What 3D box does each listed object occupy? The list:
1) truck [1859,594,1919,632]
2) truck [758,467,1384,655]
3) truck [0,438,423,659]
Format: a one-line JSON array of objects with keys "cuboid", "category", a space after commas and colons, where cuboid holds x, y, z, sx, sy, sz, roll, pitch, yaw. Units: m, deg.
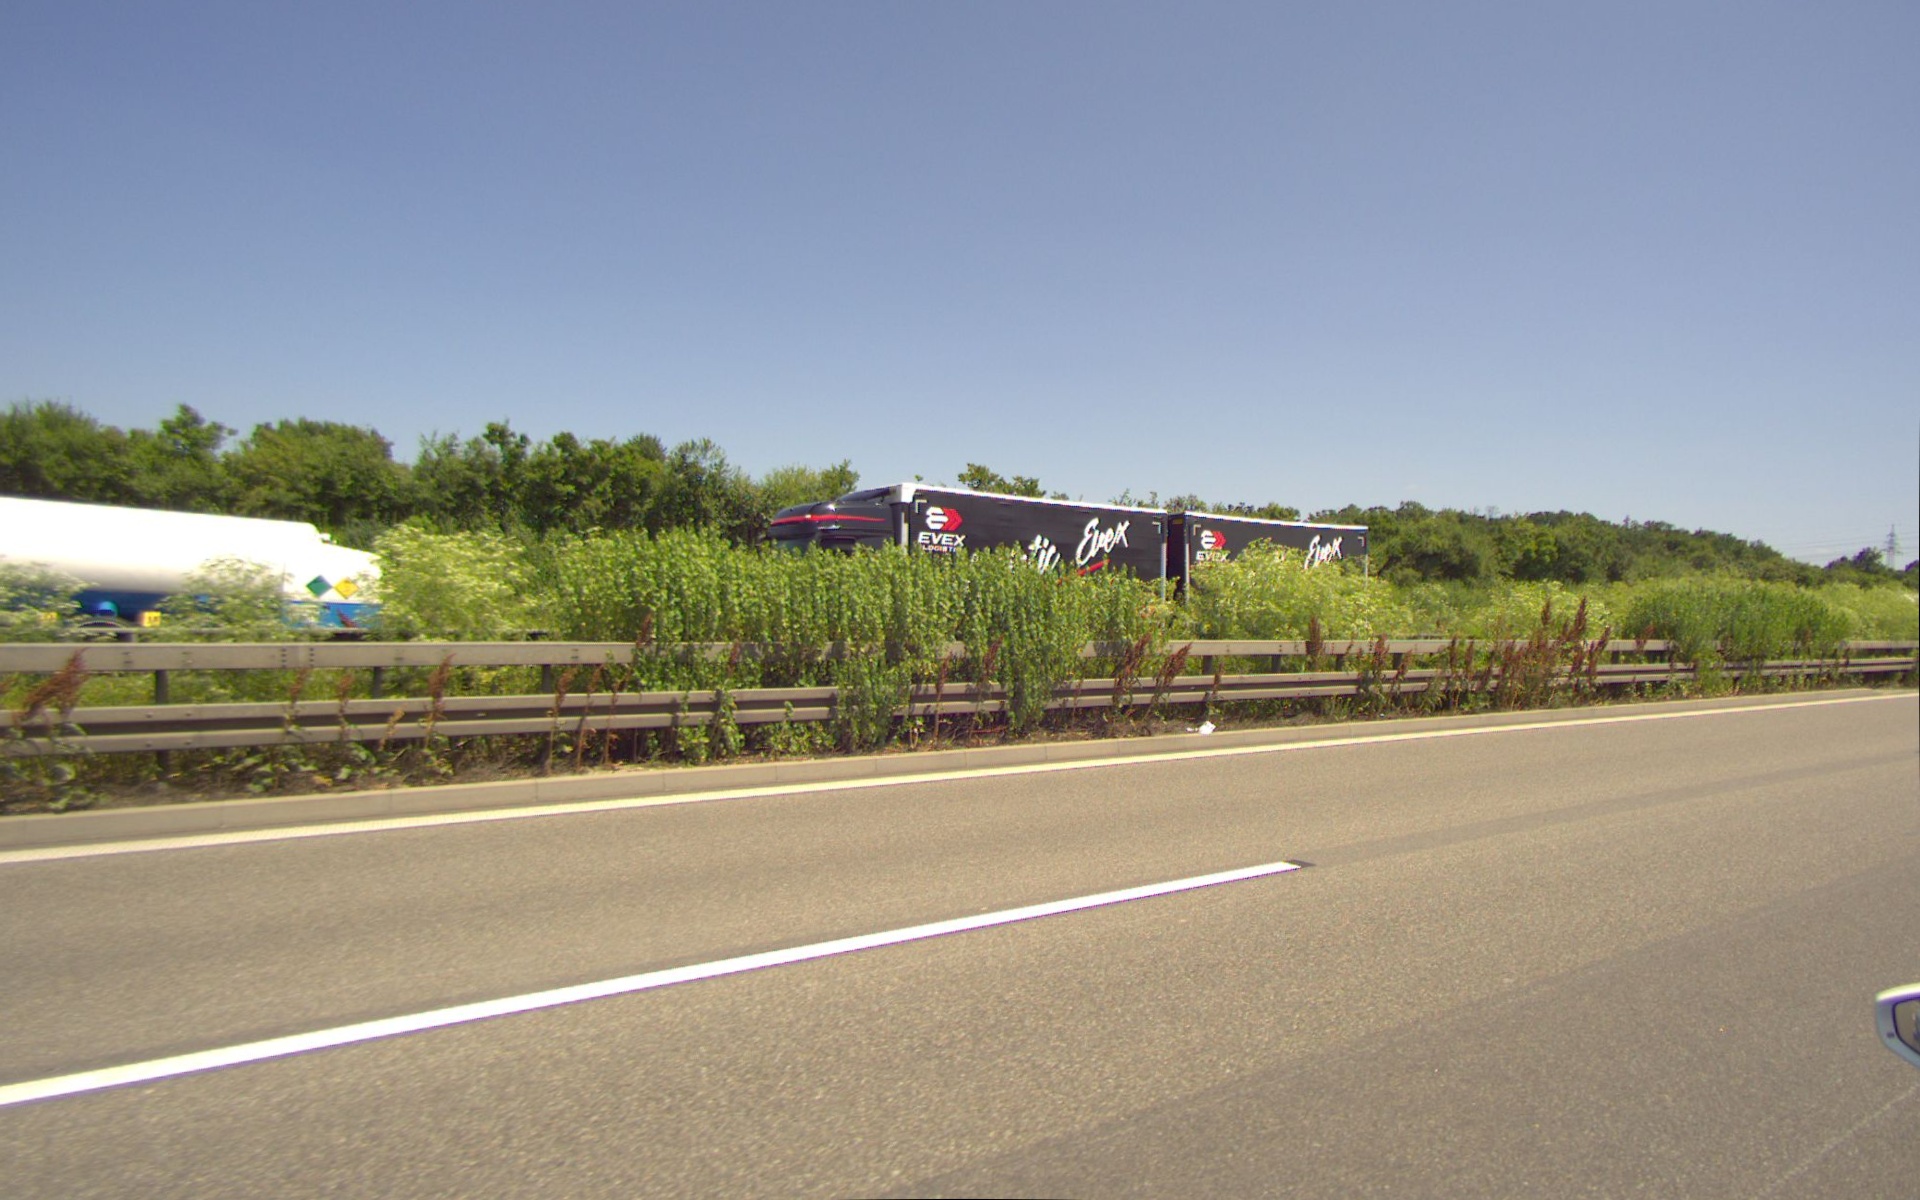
[{"cuboid": [52.800, 0.742, 55.864, 6.723, 2.040, 2.478, 1, -1, -33], "category": "truck"}, {"cuboid": [4.041, -0.700, 26.062, 18.337, 3.660, 3.209, 1, 2, -34], "category": "truck"}, {"cuboid": [-17.003, -0.821, 16.250, 14.528, 3.502, 2.445, 1, -1, -33], "category": "truck"}]
